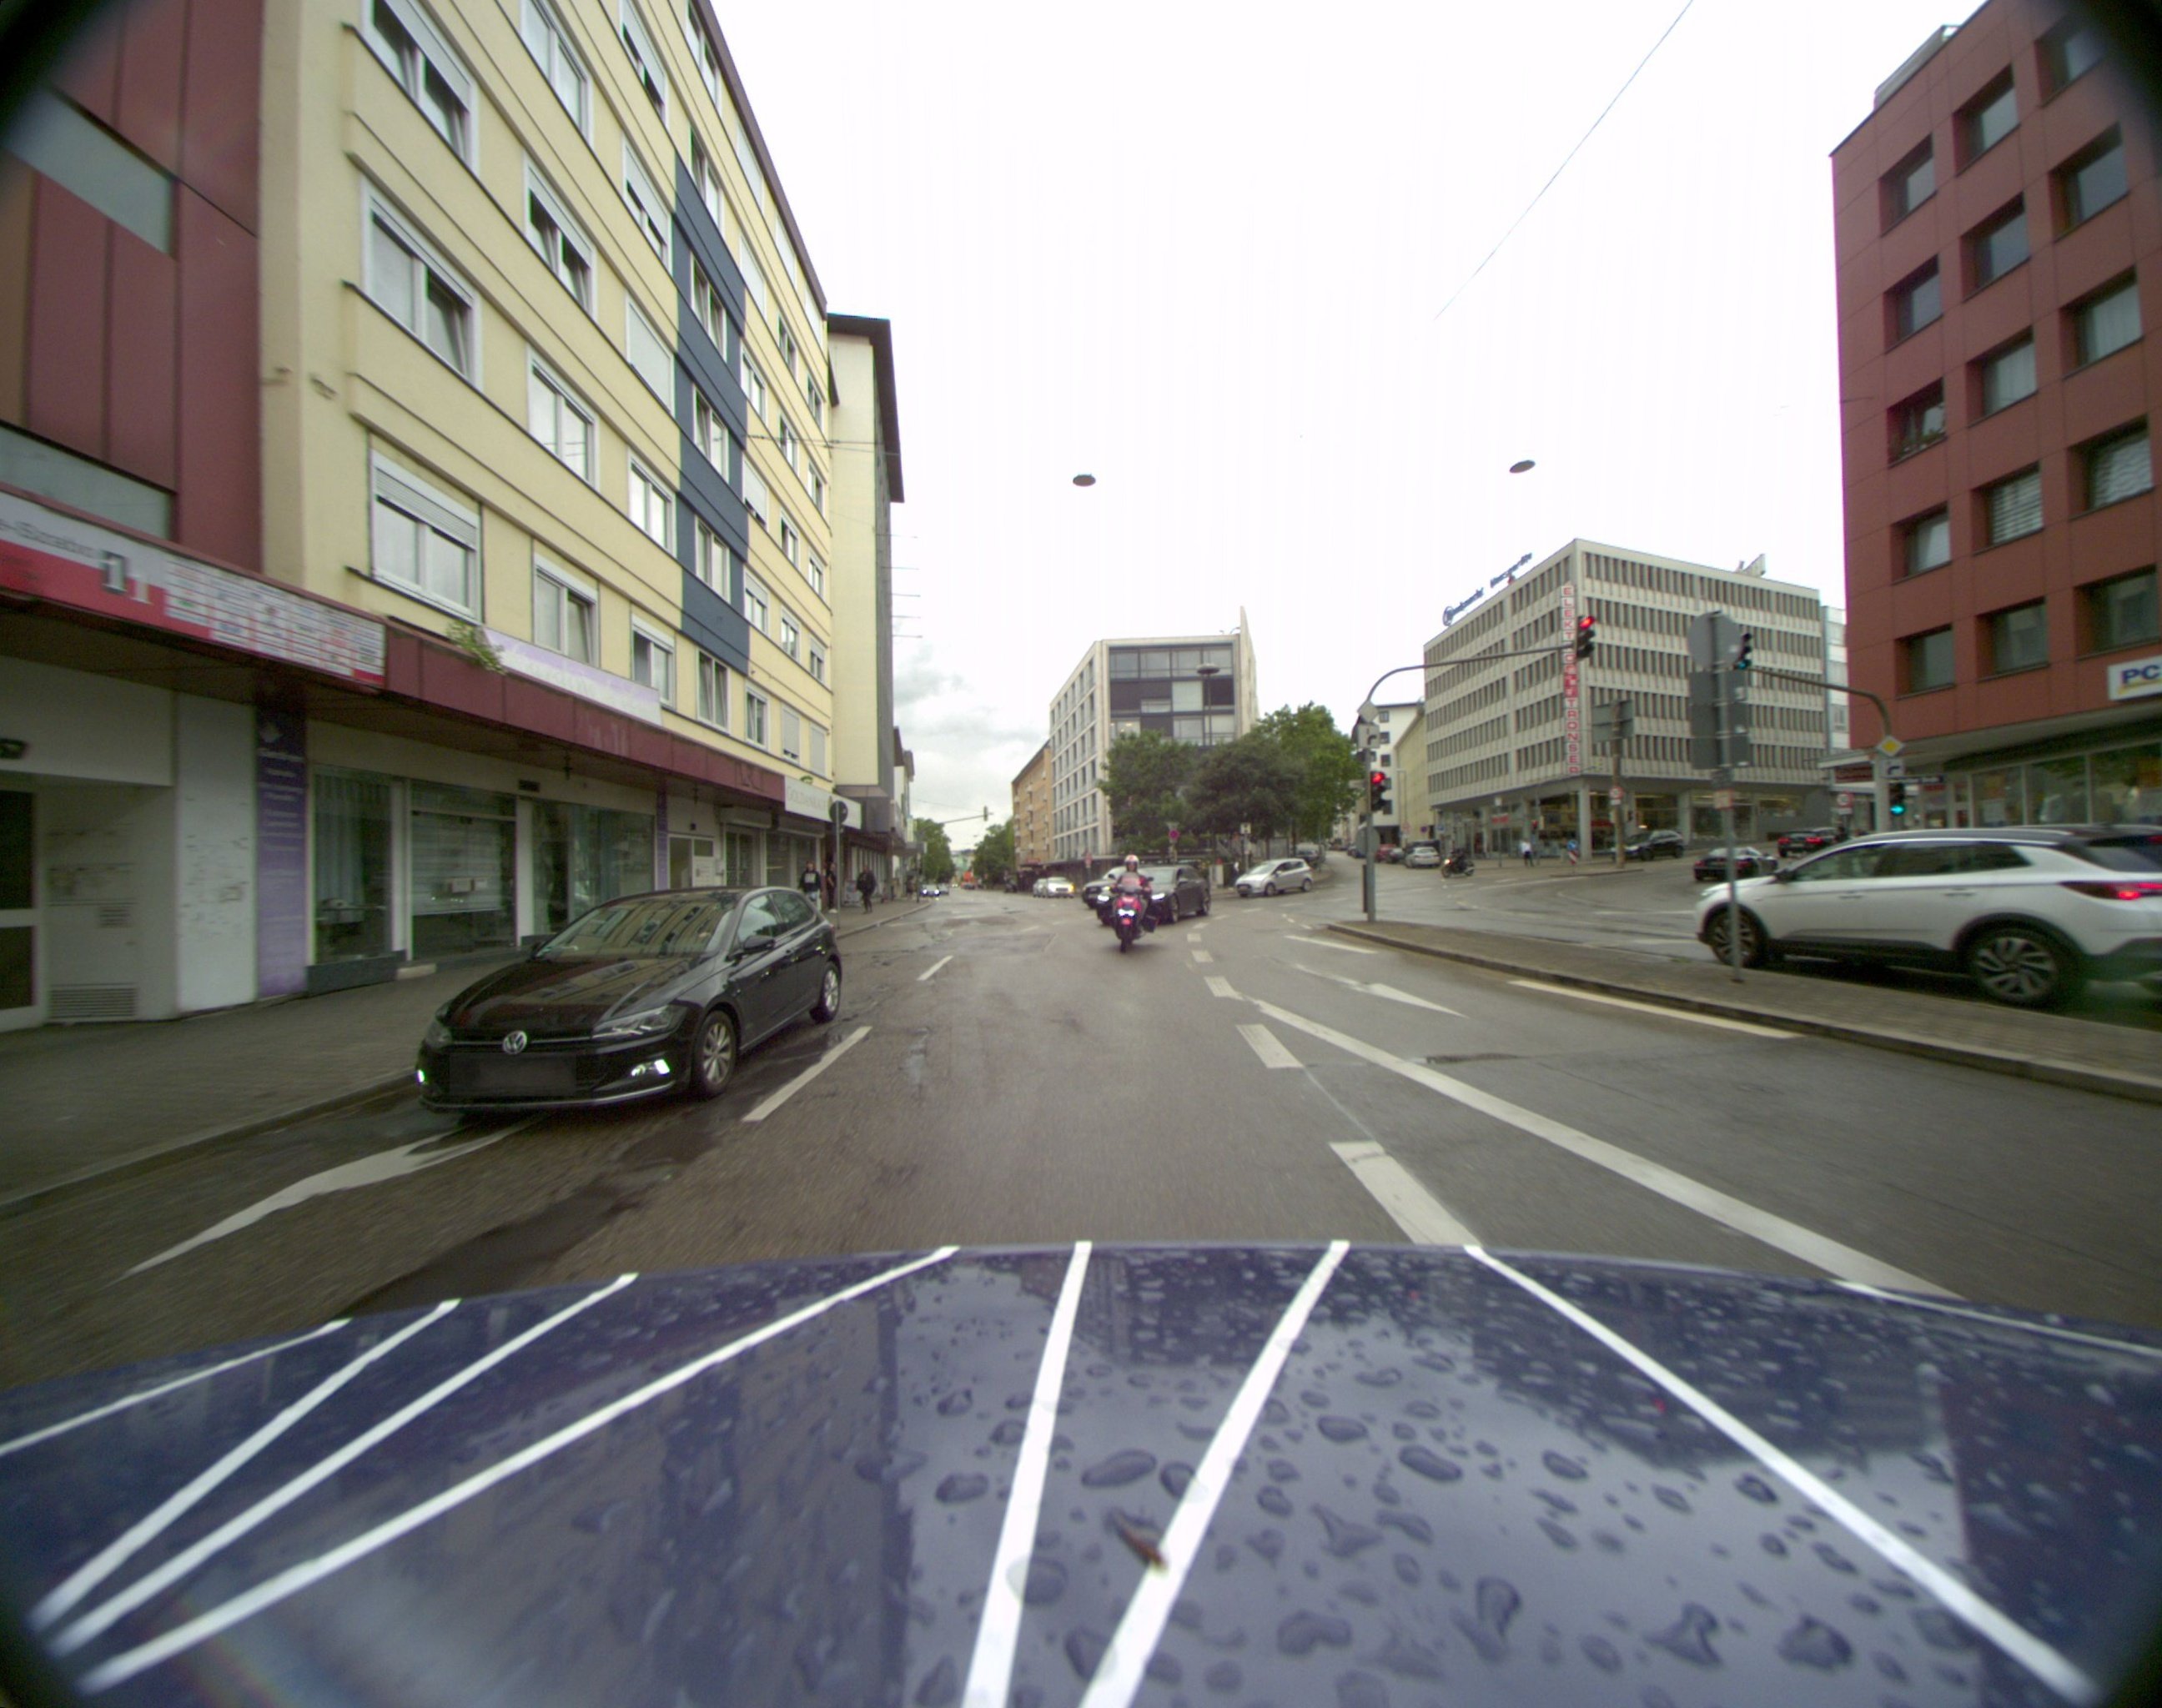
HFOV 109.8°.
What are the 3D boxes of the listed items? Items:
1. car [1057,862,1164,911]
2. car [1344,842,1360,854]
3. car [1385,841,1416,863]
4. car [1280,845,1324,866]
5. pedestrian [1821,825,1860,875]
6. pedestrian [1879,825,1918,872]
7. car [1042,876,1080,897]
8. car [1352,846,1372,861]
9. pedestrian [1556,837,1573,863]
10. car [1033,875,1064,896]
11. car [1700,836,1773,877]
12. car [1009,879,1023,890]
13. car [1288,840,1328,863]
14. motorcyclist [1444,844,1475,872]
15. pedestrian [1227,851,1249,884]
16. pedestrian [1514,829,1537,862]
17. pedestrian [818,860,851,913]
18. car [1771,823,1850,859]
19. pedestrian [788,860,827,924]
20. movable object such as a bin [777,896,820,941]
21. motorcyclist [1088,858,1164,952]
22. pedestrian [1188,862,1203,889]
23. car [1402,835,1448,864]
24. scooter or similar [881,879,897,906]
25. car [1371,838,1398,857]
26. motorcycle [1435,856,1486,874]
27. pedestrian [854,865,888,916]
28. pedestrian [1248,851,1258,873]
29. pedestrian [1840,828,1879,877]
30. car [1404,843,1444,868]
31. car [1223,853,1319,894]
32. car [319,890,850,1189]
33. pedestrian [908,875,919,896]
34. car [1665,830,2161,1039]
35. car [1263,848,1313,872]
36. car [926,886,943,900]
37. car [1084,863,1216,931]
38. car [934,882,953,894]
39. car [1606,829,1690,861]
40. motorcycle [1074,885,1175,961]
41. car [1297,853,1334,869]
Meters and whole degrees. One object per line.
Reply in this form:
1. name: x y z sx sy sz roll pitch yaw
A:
1. car: 1.205 1.212 28.867 1.868 1.538 4.112 -4 -1 39
2. car: 45.129 -0.983 126.447 2.024 1.638 4.433 -4 -1 15
3. car: 28.958 -0.157 69.021 2.023 1.739 4.620 -4 -1 17
4. car: 19.304 0.134 66.247 3.540 1.550 1.742 -4 0 18
5. pedestrian: 27.681 -0.135 27.685 0.744 1.737 0.732 -3 -1 -28
6. pedestrian: 29.422 -0.193 27.349 0.734 1.619 0.693 -3 -1 -25
7. car: -1.435 2.259 52.511 1.975 1.379 3.997 0 -2 -11
8. car: 37.583 -0.104 101.671 2.023 1.829 4.050 -4 -1 16
9. pedestrian: 30.857 -0.260 48.523 0.713 1.613 0.725 -2 0 19
10. car: -2.591 2.473 59.591 1.811 1.489 3.997 -4 -1 -11
11. car: 25.408 0.092 29.390 1.793 1.352 4.069 -5 -2 45
12. car: -10.324 4.851 120.214 1.828 1.564 3.998 -4 -1 -9
13. car: 24.744 -0.296 82.886 3.828 2.252 1.988 -4 0 24
14. motorcyclist: 19.811 0.202 39.799 1.114 1.434 0.911 -2 0 -9
15. pedestrian: 8.783 0.764 42.596 0.783 1.738 0.788 -8 -1 -8
16. pedestrian: 27.819 -0.553 47.559 0.993 2.002 0.948 -2 0 16
17. pedestrian: -8.532 1.109 26.301 0.616 1.752 0.790 -4 -1 21
18. car: 36.851 -0.665 38.352 4.385 1.542 1.996 -3 -1 -35
19. pedestrian: -7.675 1.078 21.338 0.838 1.753 0.617 2 -3 -7
20. movable object such as a bin: -6.186 1.400 16.645 0.530 0.929 0.674 2 -1 36
21. motorcyclist: 0.828 0.903 13.708 1.091 1.595 0.954 -3 0 17
22. pedestrian: 8.053 1.509 53.406 0.788 1.802 0.593 -4 -2 -7
23. car: 27.225 -0.308 60.340 2.094 2.078 4.618 -4 -1 9
24. scooter or similar: -9.881 1.971 39.185 0.377 1.352 1.149 -3 0 5
25. car: 30.246 -0.596 75.823 1.931 1.662 4.451 -4 -1 15
26. motorcycle: 19.860 0.569 39.790 2.395 0.837 0.712 -2 0 -8
27. pedestrian: -7.356 1.285 26.608 0.752 1.712 0.754 -4 -1 21
28. pedestrian: 14.207 0.644 62.738 0.592 1.802 0.705 -5 -2 18
29. pedestrian: 28.558 -0.053 27.876 0.700 1.737 0.732 -3 -1 -28
30. car: 24.831 0.138 55.106 1.999 1.621 4.620 -4 -1 17
31. car: 8.734 0.900 34.875 4.110 1.574 1.996 -3 -1 -35
32. car: -3.347 1.122 6.166 1.742 1.422 3.879 -2 0 -1
33. pedestrian: -13.229 2.493 59.980 0.737 1.636 0.641 -4 0 -10
34. car: 9.047 0.639 8.084 1.999 1.542 4.428 -4 -1 -4
35. car: 16.004 0.469 58.721 3.539 1.550 1.742 -4 0 21
36. car: -16.921 4.491 87.679 1.786 1.444 3.997 -3 -2 -13
37. car: 2.010 1.080 20.492 1.995 1.482 4.742 -3 0 25
38. car: -20.708 5.139 114.210 2.002 1.610 4.117 -2 0 -23
39. car: 33.267 -0.522 44.599 4.003 1.673 1.997 -3 0 -19
40. motorcycle: 0.847 1.200 13.742 1.311 1.128 2.187 -3 0 17
41. car: 21.398 0.648 69.317 3.042 1.176 2.054 -4 0 21
